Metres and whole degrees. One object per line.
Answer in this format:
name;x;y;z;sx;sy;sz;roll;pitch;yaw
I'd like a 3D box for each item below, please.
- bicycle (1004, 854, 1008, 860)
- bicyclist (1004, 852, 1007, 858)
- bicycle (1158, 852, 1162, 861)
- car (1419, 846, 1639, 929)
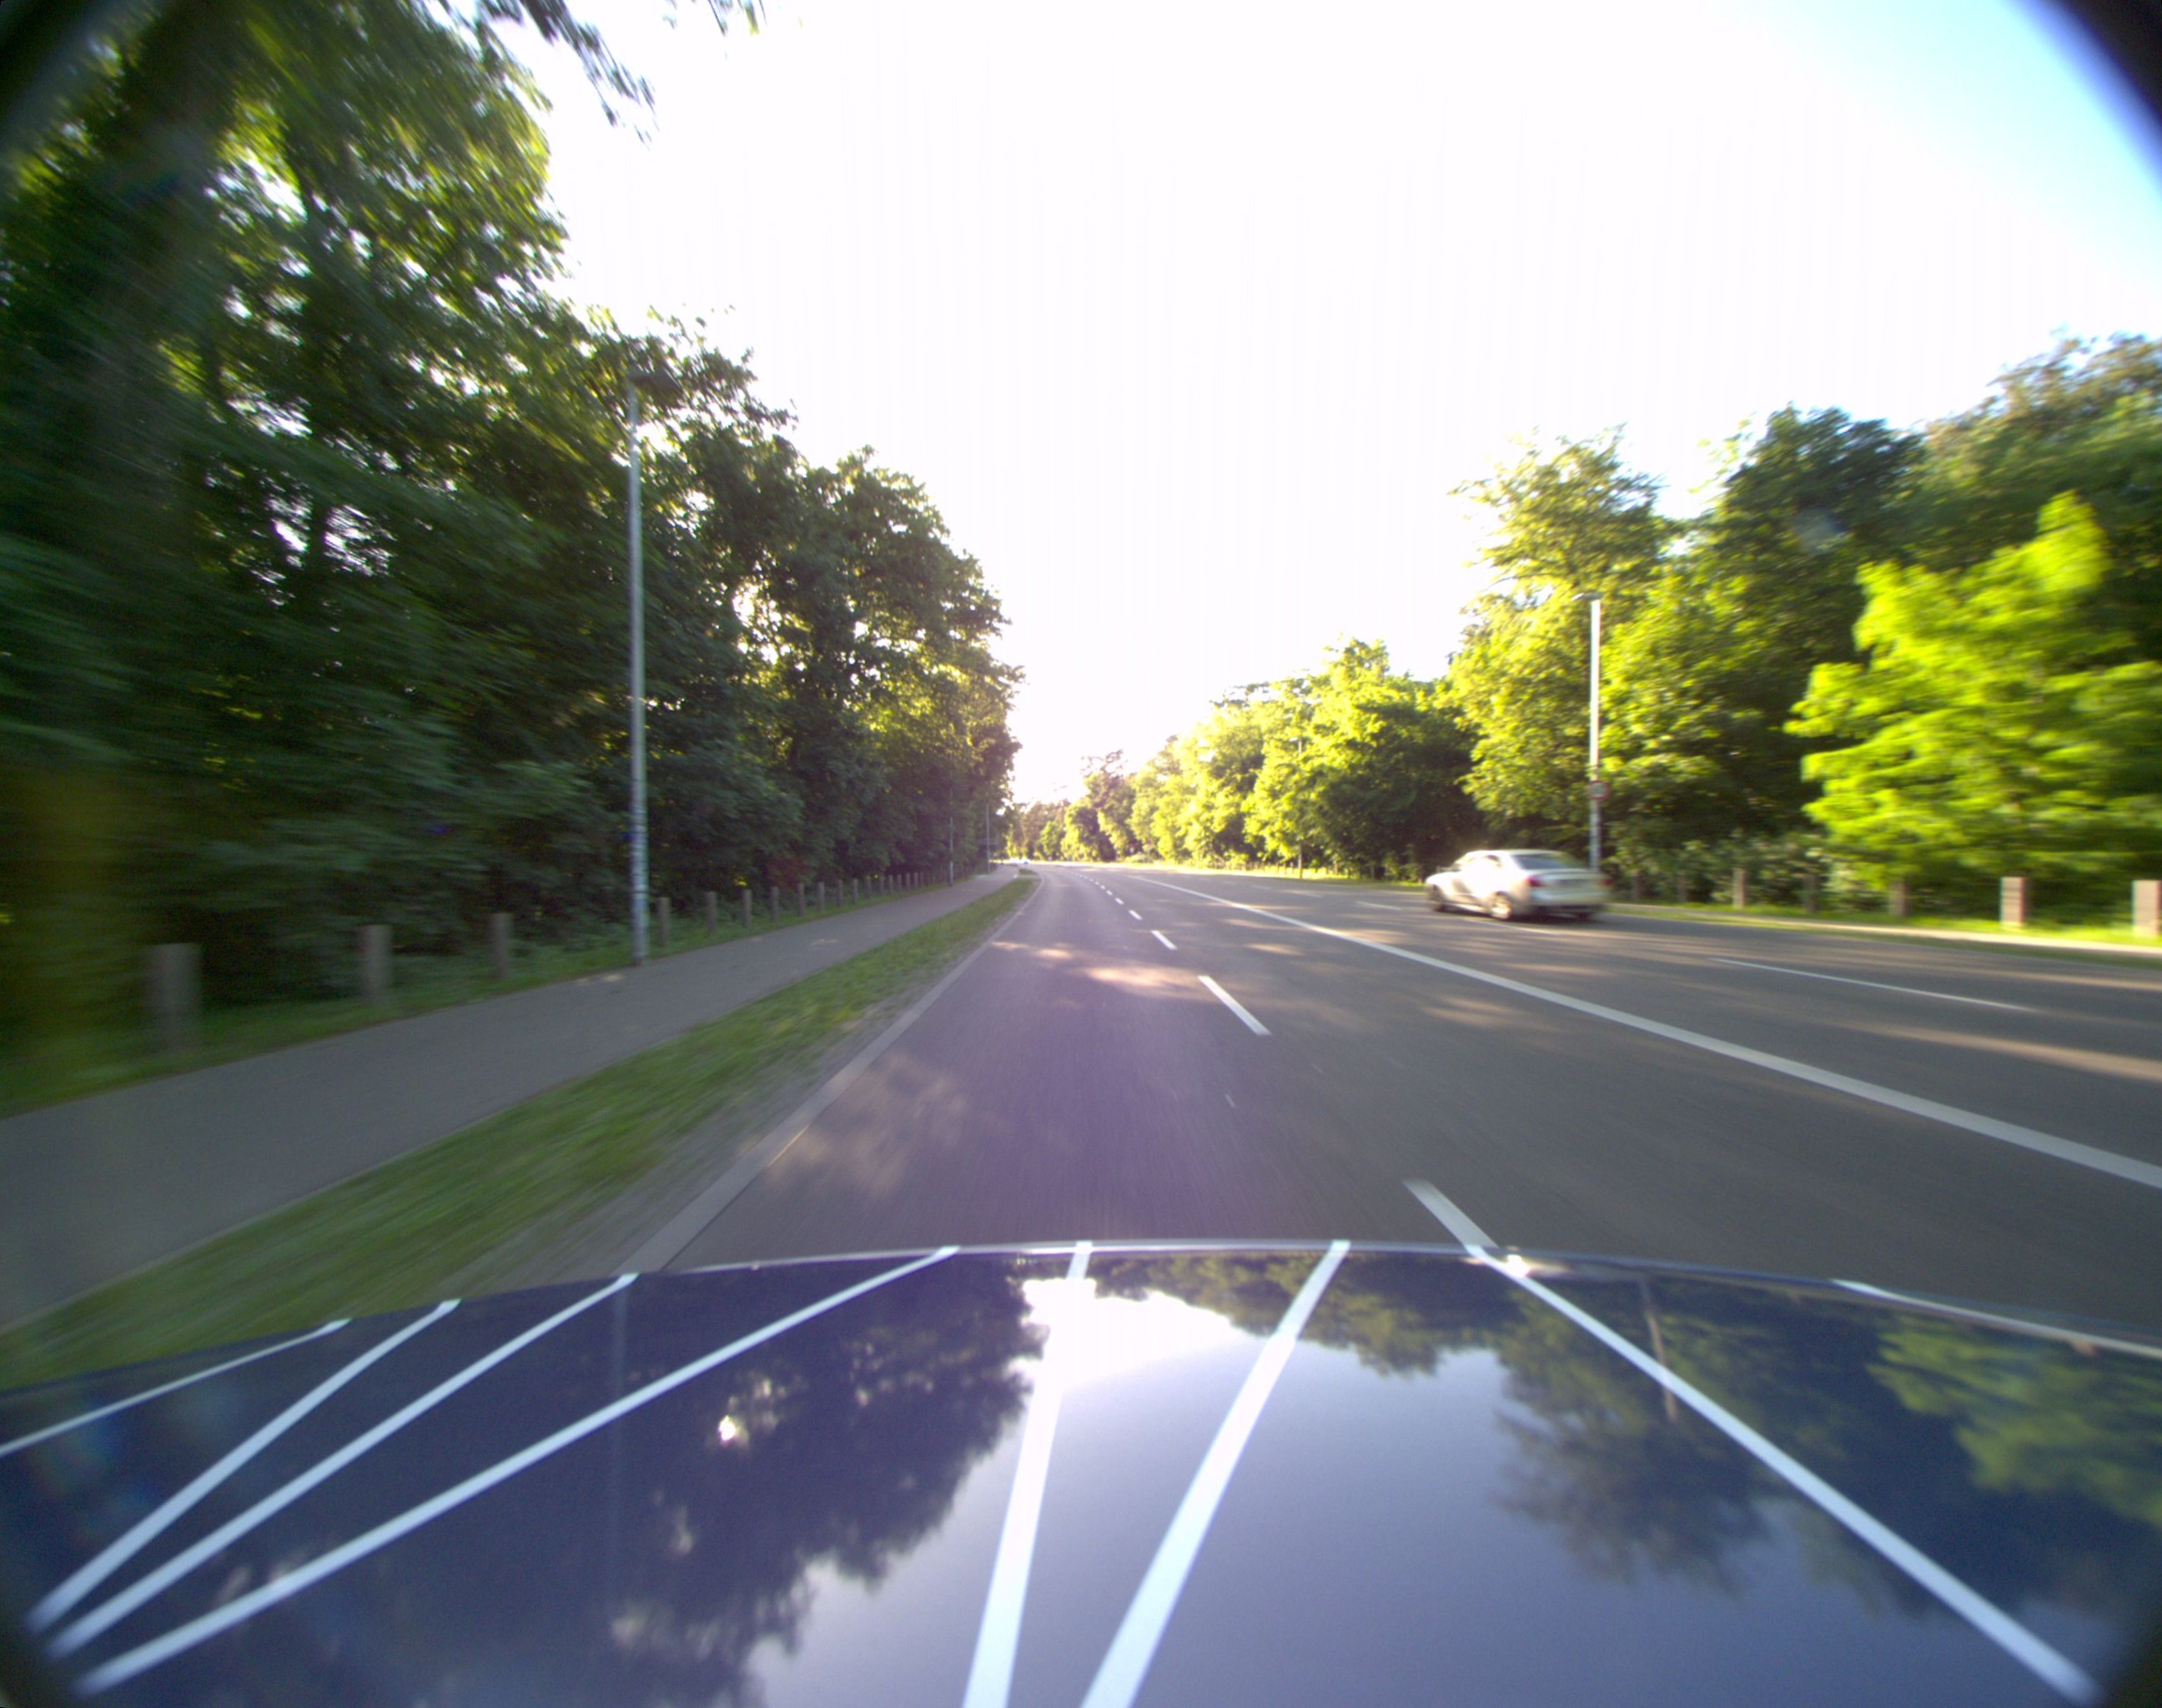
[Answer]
bicycle;-14.432;0.533;145.899;0.609;1.051;2.872;-1;0;-11
bicyclist;-14.408;0.199;145.853;0.515;1.260;0.497;-1;1;-11
bicycle;10.570;0.363;101.927;0.402;1.125;2.220;-3;1;4
car;8.736;0.600;15.311;1.784;1.400;4.164;-1;0;-3
